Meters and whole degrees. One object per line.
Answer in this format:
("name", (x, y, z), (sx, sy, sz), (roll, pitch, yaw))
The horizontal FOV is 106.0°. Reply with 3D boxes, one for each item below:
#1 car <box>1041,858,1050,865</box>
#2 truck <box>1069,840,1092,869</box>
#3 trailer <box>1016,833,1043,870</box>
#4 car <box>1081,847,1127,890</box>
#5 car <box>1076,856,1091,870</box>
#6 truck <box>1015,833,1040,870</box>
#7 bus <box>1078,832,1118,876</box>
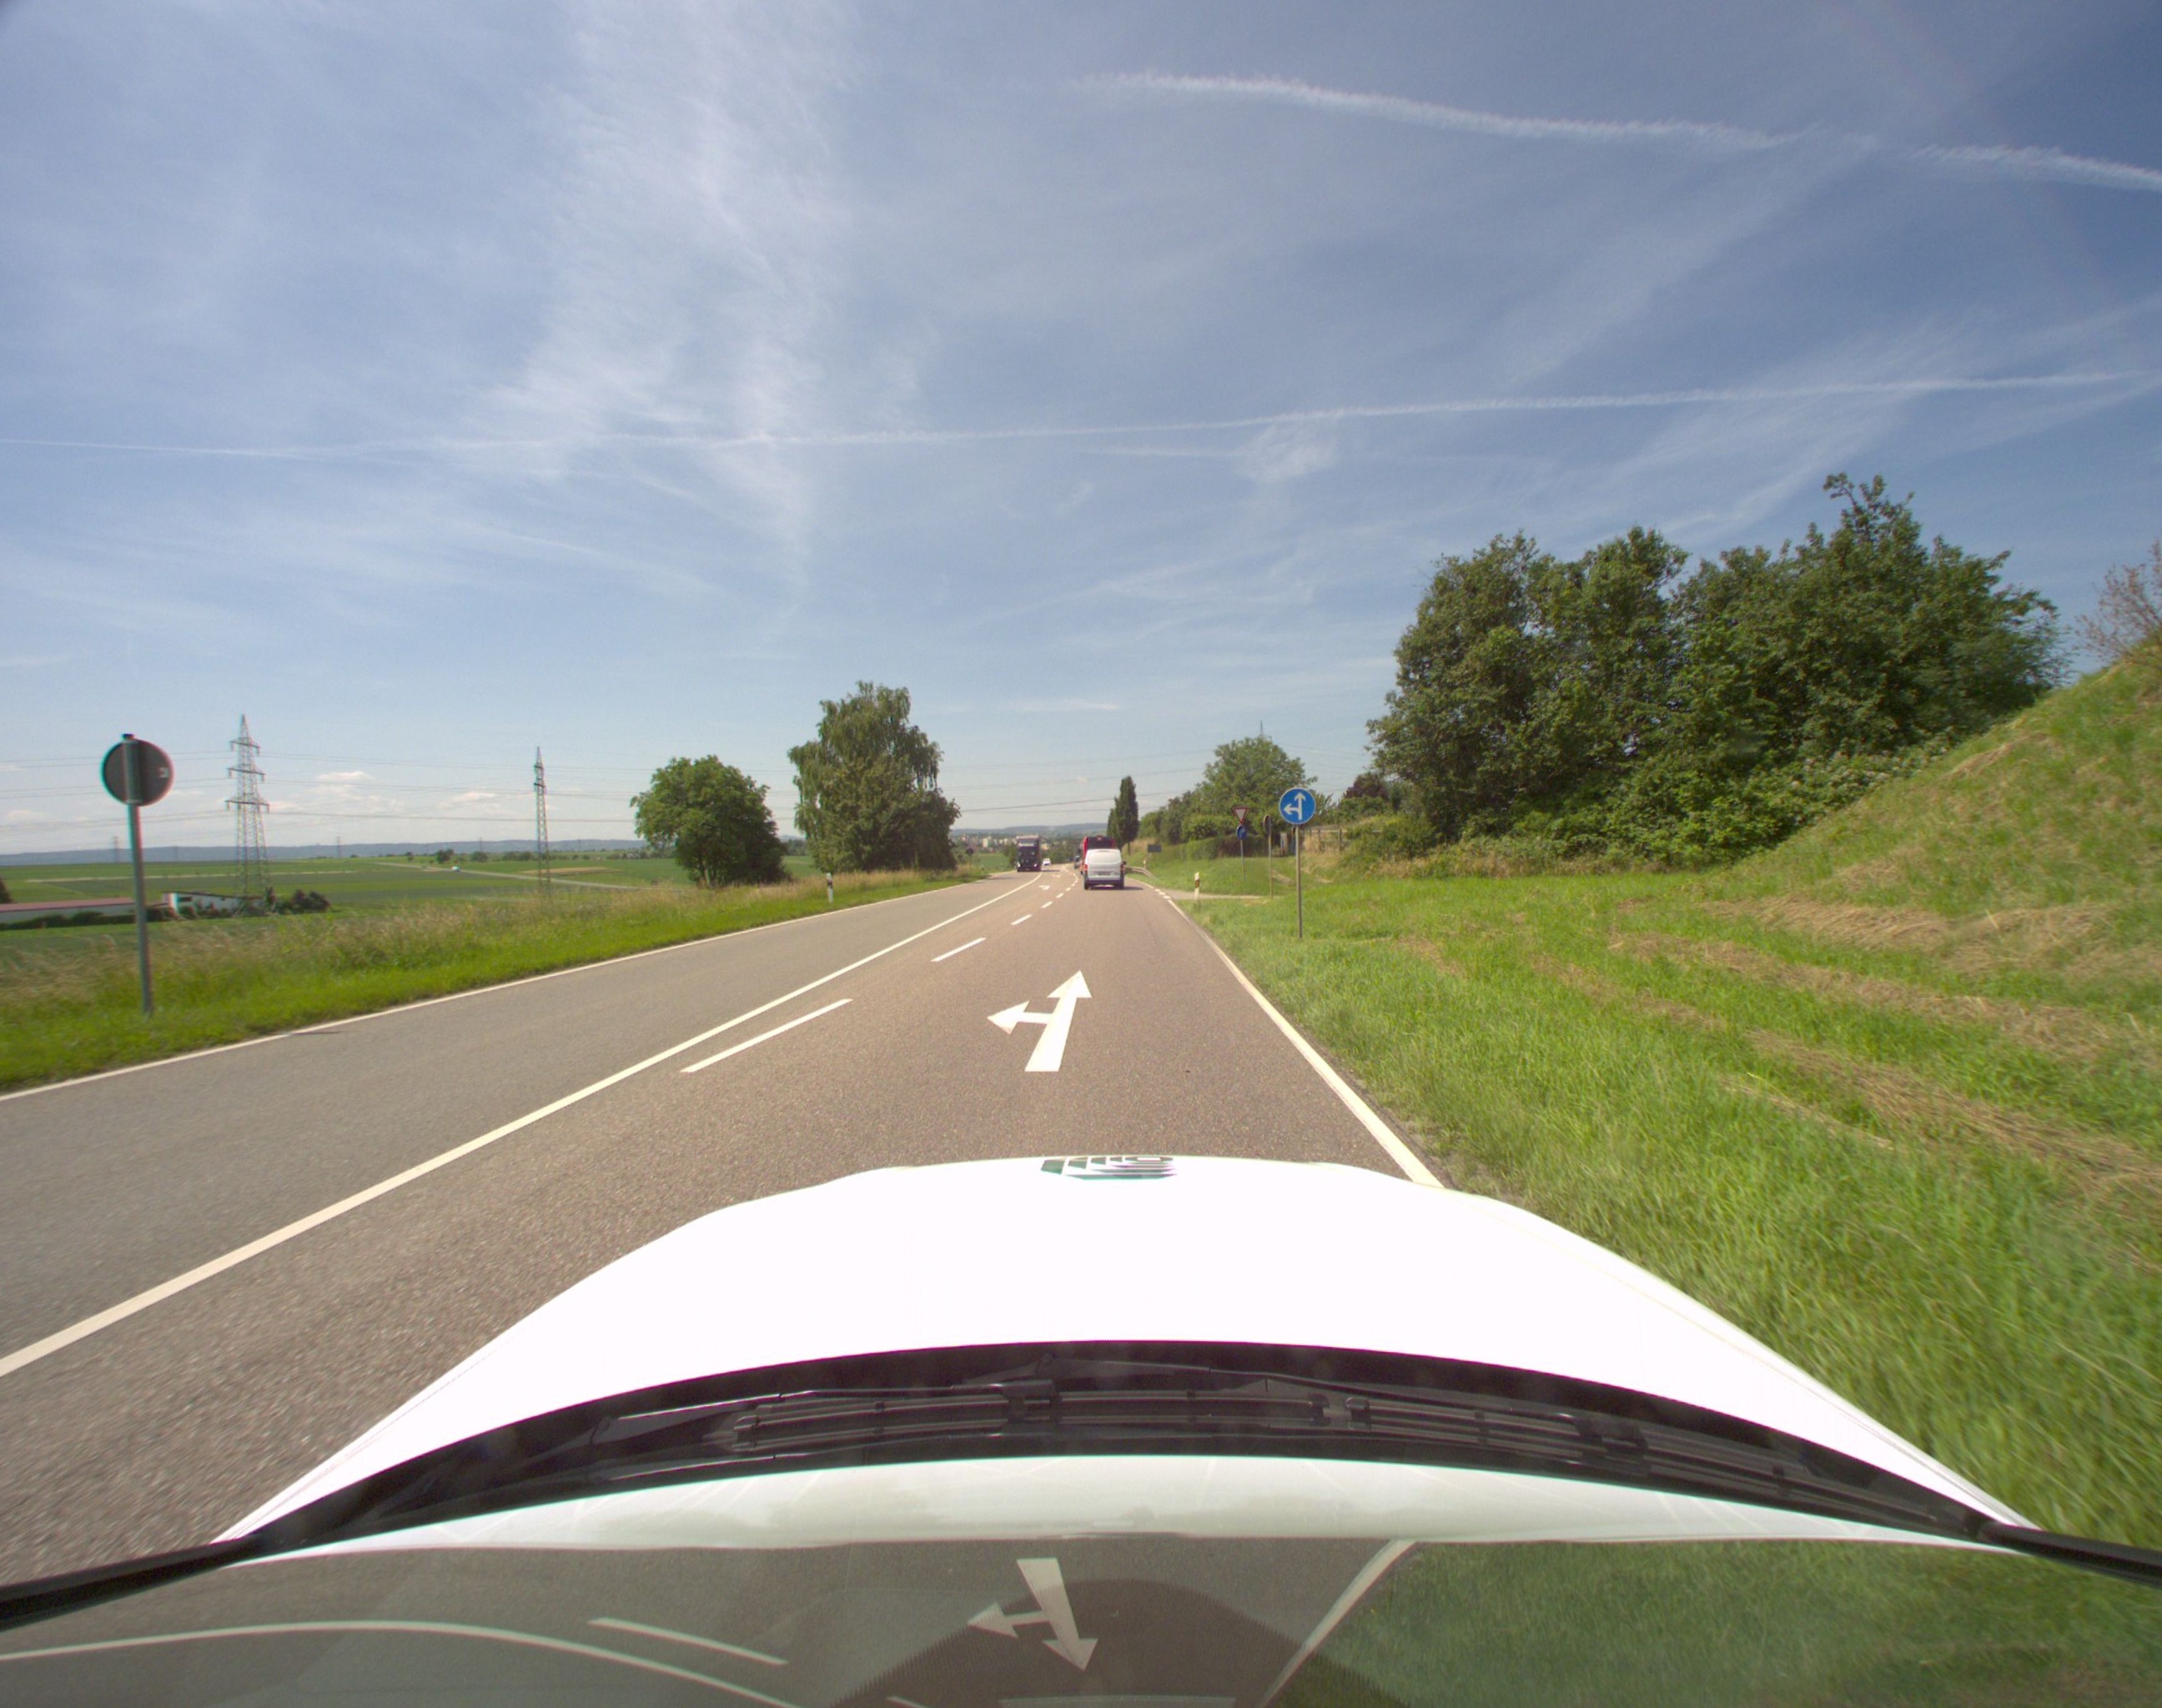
("car", (-8.502, 1.736, 194.975), (1.848, 1.565, 4.073), (-3, 0, 0))
("truck", (-0.099, 0.058, 139.408), (3.477, 4.423, 14.901), (-3, 0, 0))
("trailer", (-6.242, -0.256, 100.386), (2.585, 4.143, 13.733), (-1, 0, -1))
("car", (1.167, 0.659, 39.100), (1.915, 1.889, 4.005), (-3, 0, 4))
("car", (0.365, 1.199, 112.363), (1.878, 1.817, 3.765), (-1, 0, 1))
("truck", (-6.097, -0.233, 93.537), (2.578, 4.104, 5.438), (-1, 0, -1))
("bus", (1.308, -0.148, 71.899), (2.739, 3.353, 13.215), (-4, 2, -1))
